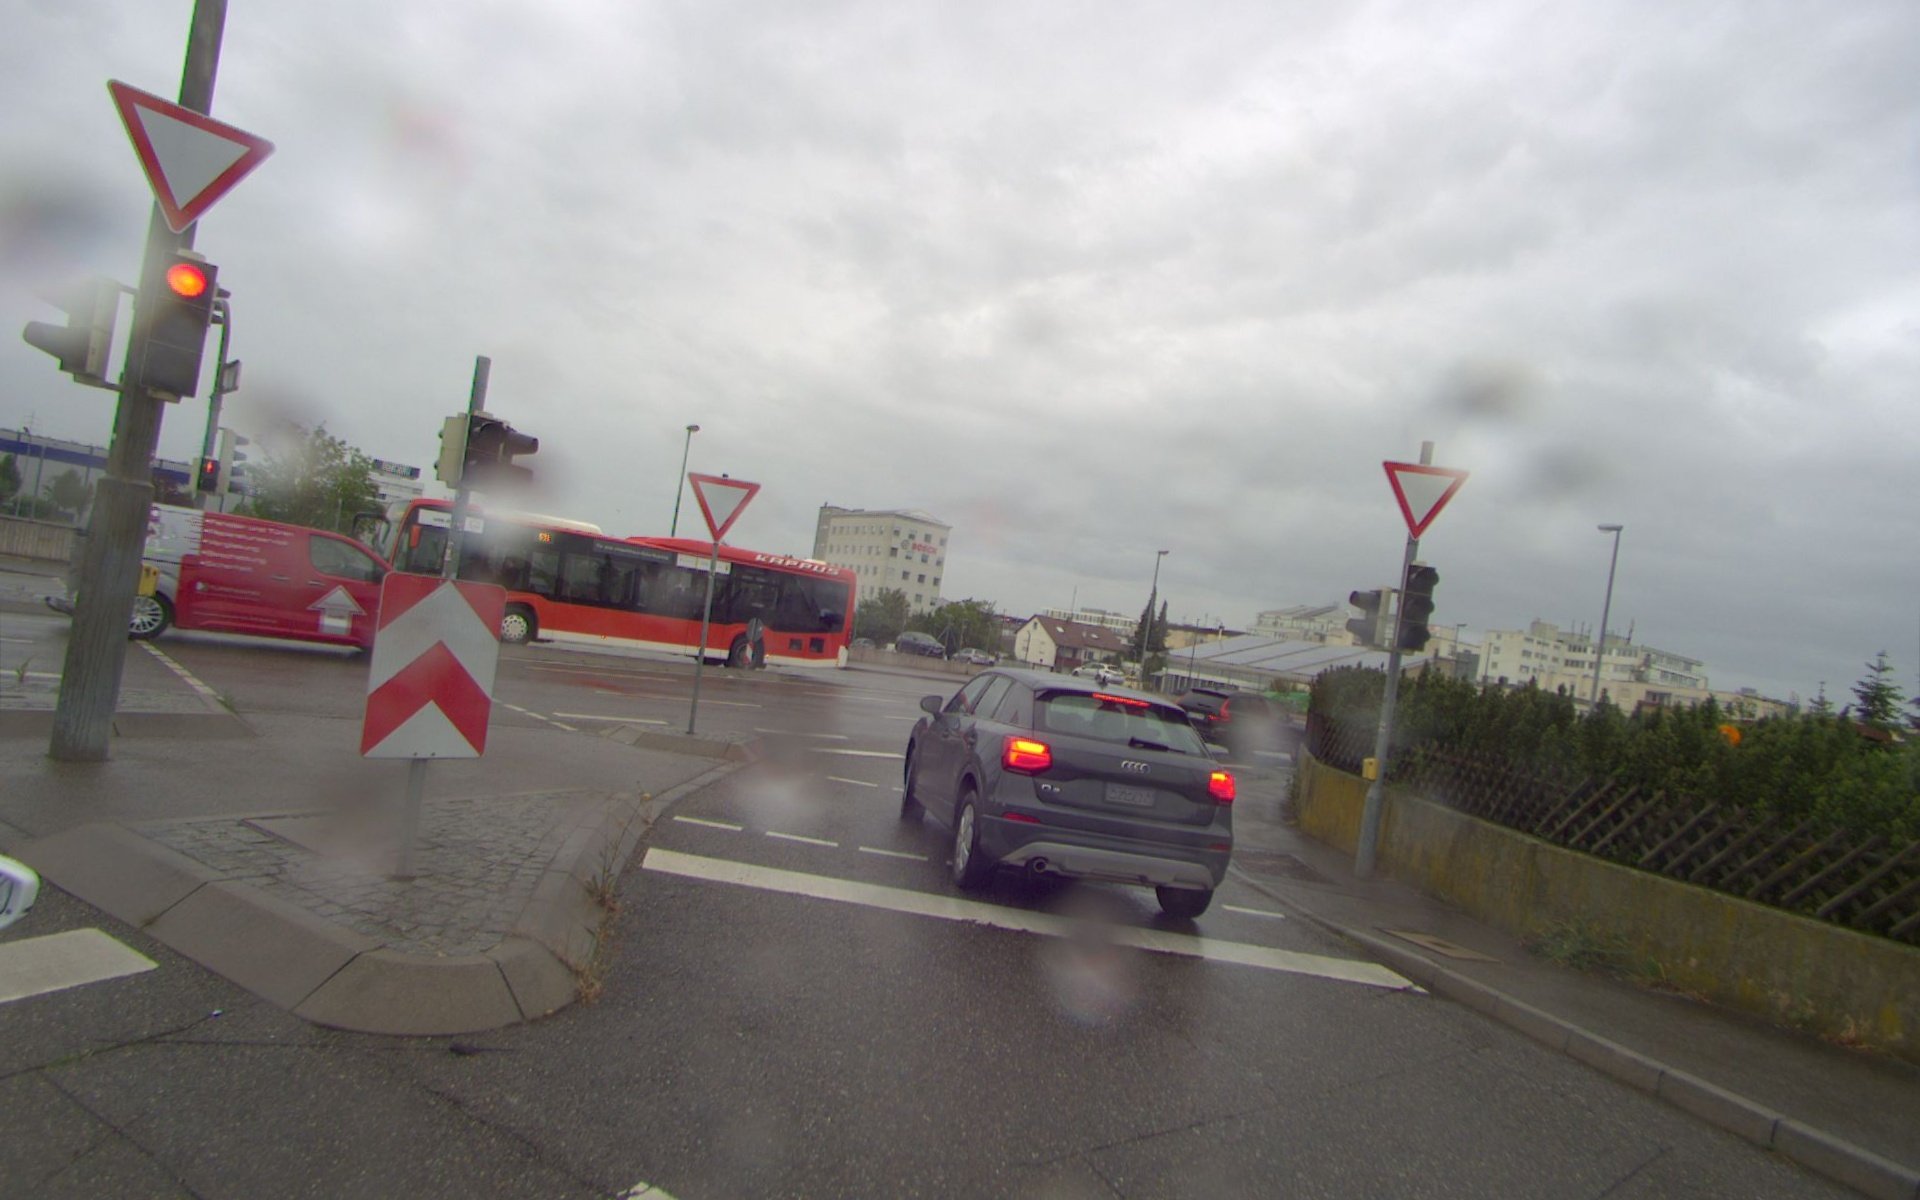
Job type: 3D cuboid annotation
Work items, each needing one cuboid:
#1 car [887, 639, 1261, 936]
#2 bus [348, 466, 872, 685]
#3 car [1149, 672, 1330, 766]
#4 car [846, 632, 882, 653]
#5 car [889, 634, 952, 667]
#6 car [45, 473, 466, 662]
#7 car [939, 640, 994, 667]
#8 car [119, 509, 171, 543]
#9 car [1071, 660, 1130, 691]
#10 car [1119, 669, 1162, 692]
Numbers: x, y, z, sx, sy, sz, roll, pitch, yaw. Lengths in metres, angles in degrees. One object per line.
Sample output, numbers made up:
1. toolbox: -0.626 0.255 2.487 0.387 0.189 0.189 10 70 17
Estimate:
1. car: 0.587 1.230 8.018 1.662 1.512 3.933 9 -2 -11
2. bus: -8.276 -0.264 25.937 12.244 3.357 3.040 12 -3 -41
3. car: 7.282 3.099 25.973 4.601 1.698 2.012 12 -2 -38
4. car: -9.614 4.225 100.365 1.979 1.494 3.971 9 -2 -29
5. car: -2.470 3.086 61.958 1.983 1.494 3.964 10 -2 -34
6. car: -10.378 -0.377 15.109 1.975 2.037 4.762 7 -2 45
7. car: 0.544 4.369 82.227 3.951 1.494 1.989 9 -2 -24
8. car: -45.614 -4.129 56.357 1.985 1.495 3.959 10 -2 -38
9. car: 9.738 5.247 70.056 1.979 1.494 3.971 9 -2 -29
10. car: 17.932 7.994 100.015 3.760 1.771 1.887 9 -2 -29
